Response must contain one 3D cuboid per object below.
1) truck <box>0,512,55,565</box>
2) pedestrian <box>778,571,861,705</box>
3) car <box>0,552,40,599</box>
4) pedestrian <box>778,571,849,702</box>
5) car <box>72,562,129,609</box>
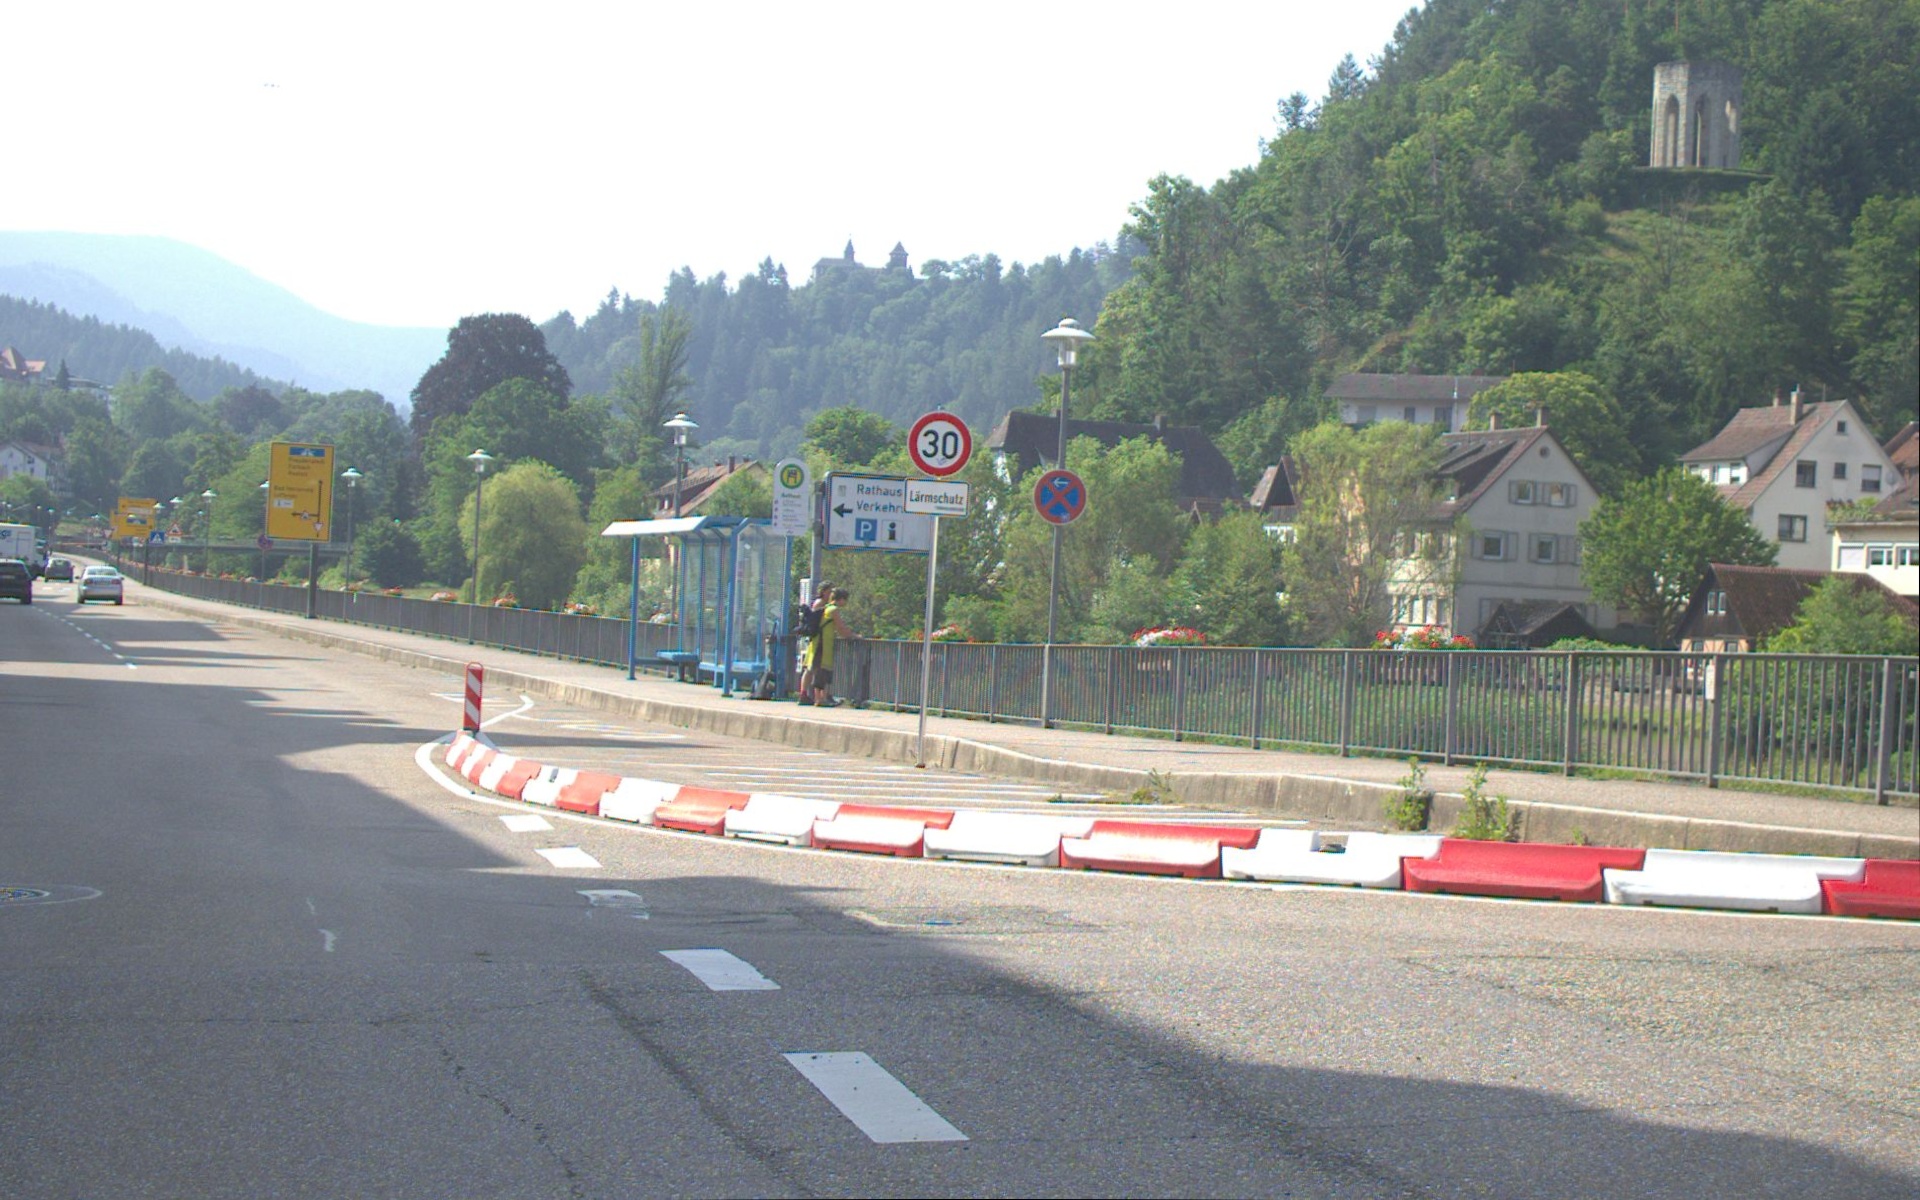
[{"bbox_3d":[-62.107,-4.019,218.389,3.076,3.253,9.188,2,0,32],"label":"truck"},{"bbox_3d":[-1.841,0.492,45.018,0.866,1.700,0.777,3,0,-13],"label":"pedestrian"},{"bbox_3d":[-35.683,-0.948,129.304,1.993,1.656,4.001,3,0,-15],"label":"car"},{"bbox_3d":[-1.947,0.485,45.663,0.789,1.700,0.492,3,0,-13],"label":"pedestrian"},{"bbox_3d":[-33.432,-0.588,133.644,1.993,1.656,4.001,3,0,-15],"label":"car"}]
